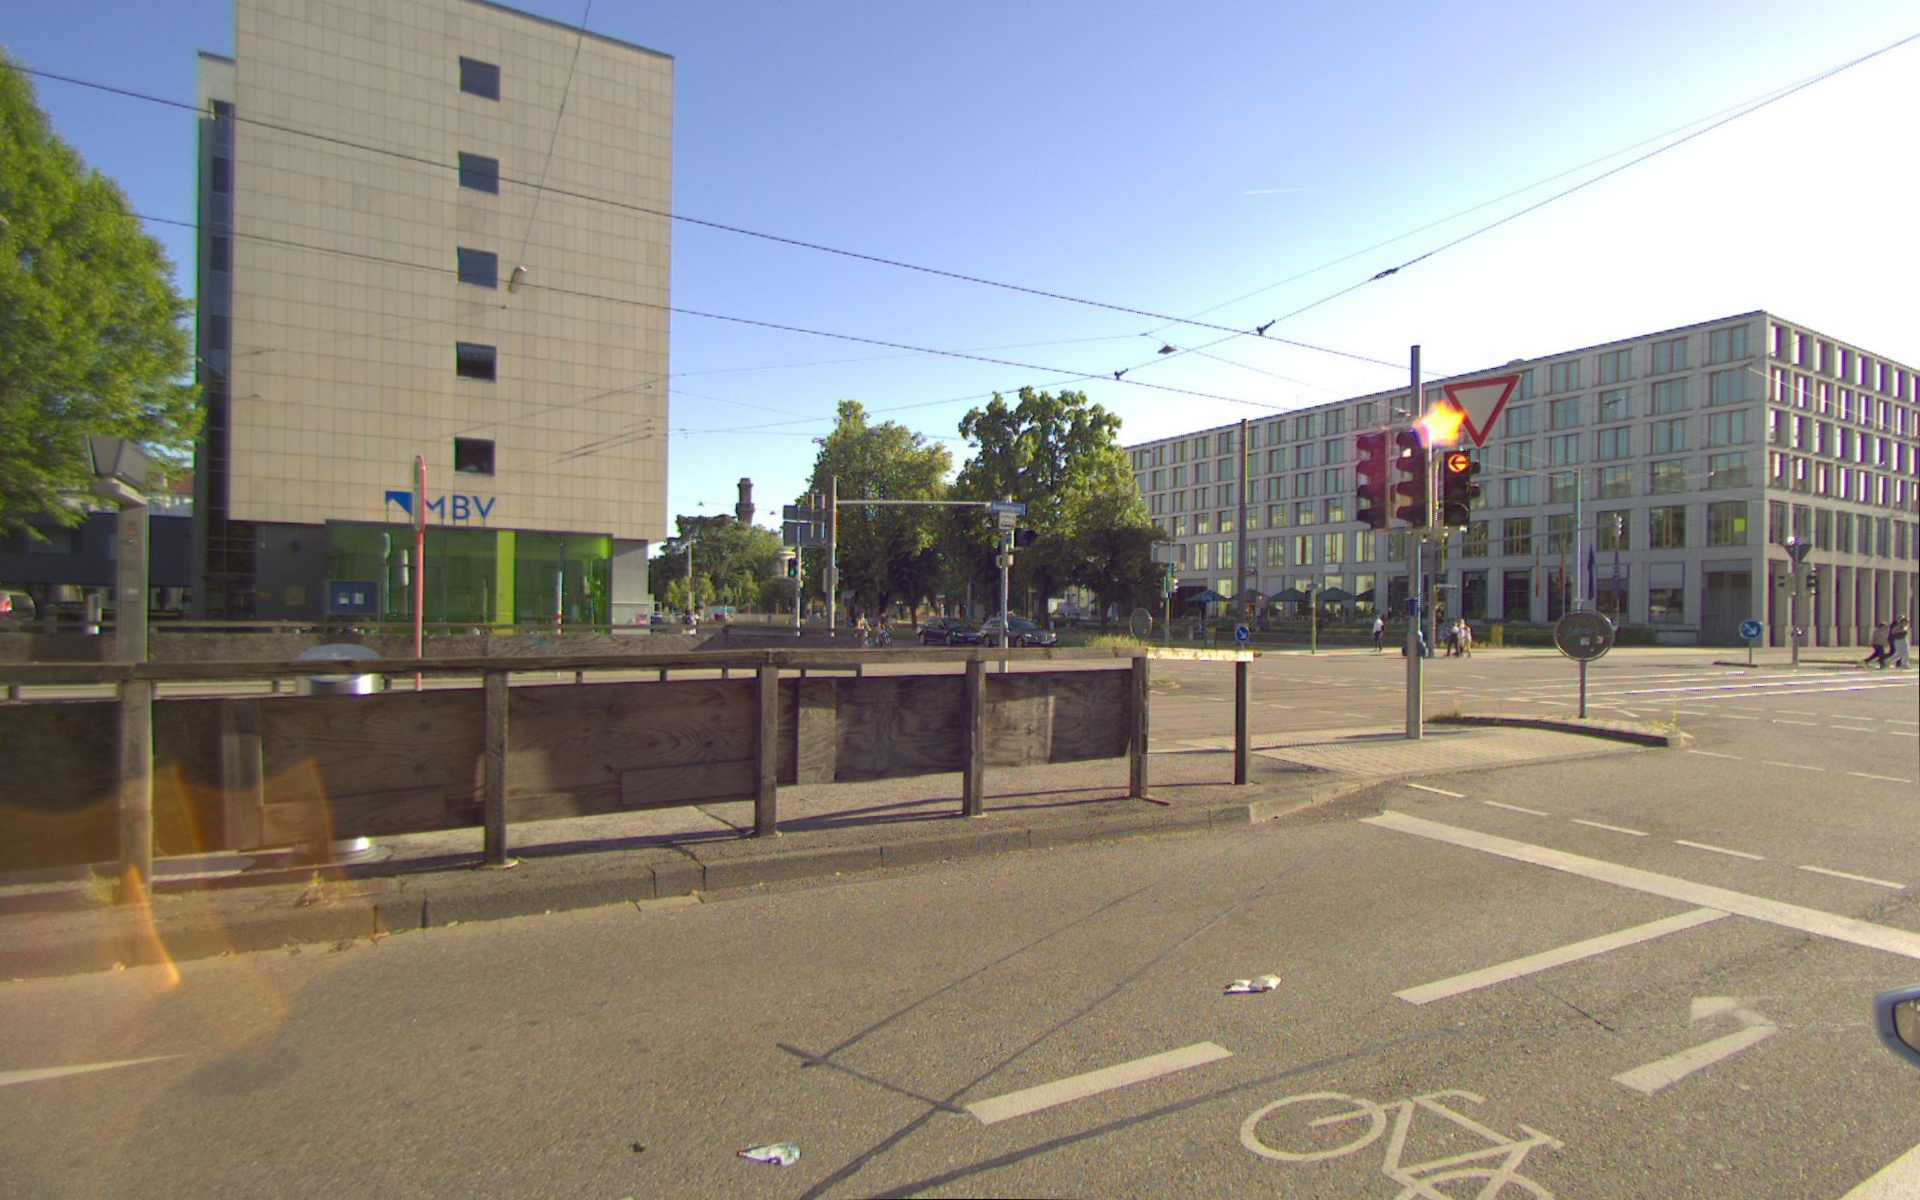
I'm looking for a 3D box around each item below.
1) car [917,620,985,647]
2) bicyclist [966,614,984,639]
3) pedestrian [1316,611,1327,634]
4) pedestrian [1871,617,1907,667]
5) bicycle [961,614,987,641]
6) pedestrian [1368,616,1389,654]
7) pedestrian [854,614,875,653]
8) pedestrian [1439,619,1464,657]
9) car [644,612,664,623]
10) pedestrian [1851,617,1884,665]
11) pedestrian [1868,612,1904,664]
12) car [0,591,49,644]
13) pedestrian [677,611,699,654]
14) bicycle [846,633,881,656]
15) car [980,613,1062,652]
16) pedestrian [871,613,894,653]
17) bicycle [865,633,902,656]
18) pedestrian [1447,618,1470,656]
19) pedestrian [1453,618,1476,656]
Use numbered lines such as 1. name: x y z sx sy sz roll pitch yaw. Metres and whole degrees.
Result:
1. car: -0.528 1.763 53.340 1.755 1.311 4.209 1 -1 -30
2. bicyclist: 1.000 1.776 66.739 0.592 1.662 1.065 1 -1 -41
3. pedestrian: 27.107 1.672 75.265 0.556 1.691 0.537 2 0 -33
4. pedestrian: 31.550 1.417 34.102 0.615 1.666 0.787 1 -1 -34
5. bicycle: 0.928 1.836 66.814 0.592 1.758 1.881 1 -1 -41
6. pedestrian: 21.702 1.822 52.044 0.628 1.943 0.800 1 -1 -24
7. pedestrian: -4.327 1.510 45.448 0.666 1.739 0.754 1 -1 -32
8. pedestrian: 23.776 1.838 48.556 0.654 1.827 0.868 1 -1 -24
9. car: -42.372 2.446 139.135 1.614 1.452 4.021 3 -2 -31
10. pedestrian: 31.783 1.441 35.186 0.614 1.666 0.691 1 -1 -29
11. pedestrian: 32.517 1.332 35.267 0.668 1.784 0.746 2 -2 -25
12. car: -27.756 0.445 27.797 3.371 1.431 1.562 2 0 -20
13. pedestrian: -11.300 1.349 41.696 0.814 1.739 0.757 1 -1 -18
14. bicycle: -4.386 2.020 45.533 0.669 0.973 2.131 1 -1 -32
15. car: 2.818 1.528 47.822 1.829 1.602 4.496 1 1 -28
16. pedestrian: -3.567 1.515 46.310 0.818 1.829 0.754 1 -1 -31
17. bicycle: -3.521 2.040 46.210 0.818 0.973 2.132 1 -1 -31
18. pedestrian: 24.597 1.809 49.540 0.706 1.827 0.737 1 -1 -24
19. pedestrian: 24.532 1.810 48.886 0.525 1.827 0.867 1 -1 -24
